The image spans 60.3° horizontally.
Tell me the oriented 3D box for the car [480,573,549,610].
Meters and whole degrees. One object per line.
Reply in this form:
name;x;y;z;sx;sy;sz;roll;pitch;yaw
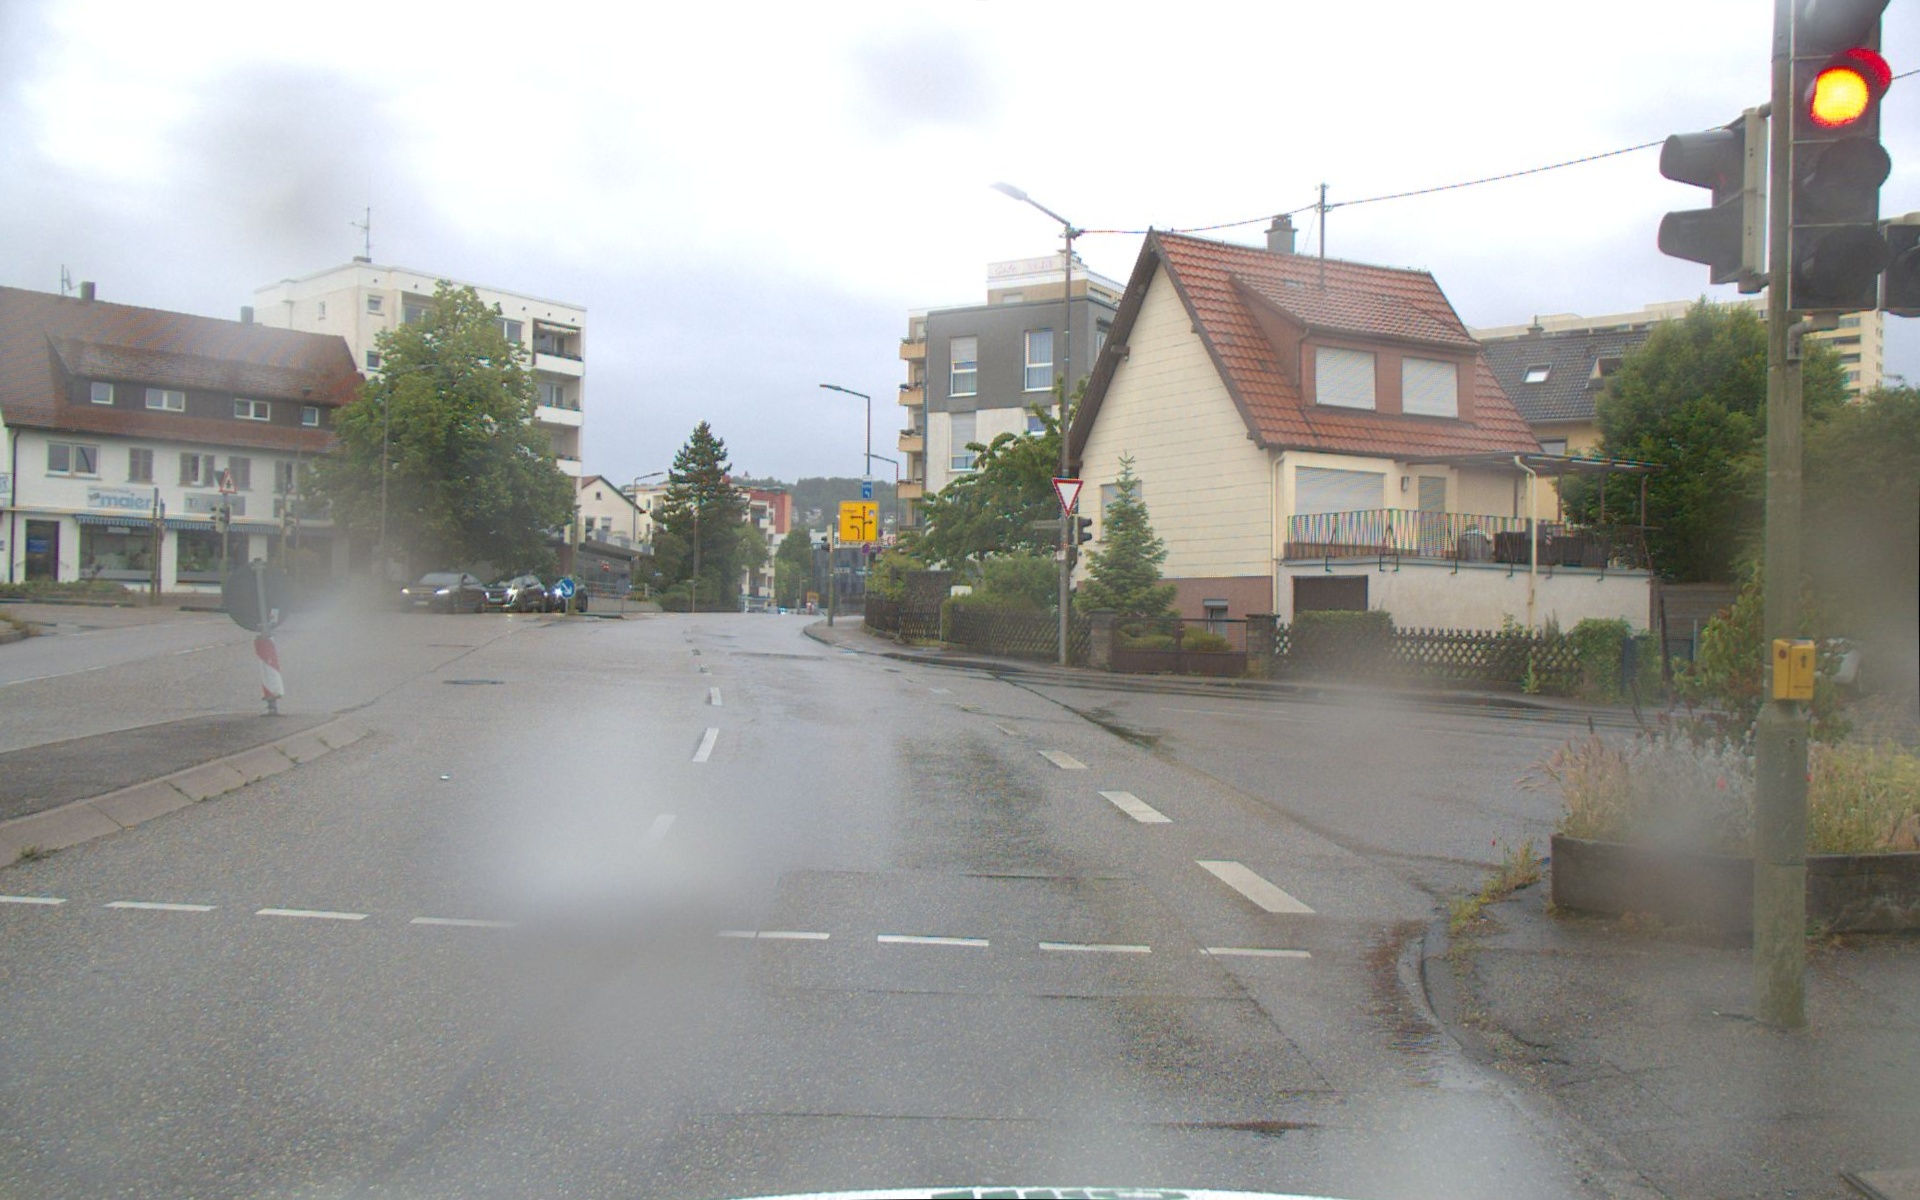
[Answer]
car;-17.558;-0.342;65.372;1.680;1.411;4.020;1;1;-1

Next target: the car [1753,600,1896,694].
car;15.625;0.790;29.793;1.710;1.541;3.985;1;1;36

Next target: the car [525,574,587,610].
car;-17.358;-0.349;71.143;1.742;1.445;3.830;1;1;-1

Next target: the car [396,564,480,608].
car;-18.247;-0.484;57.921;1.742;1.445;3.830;1;1;-1
